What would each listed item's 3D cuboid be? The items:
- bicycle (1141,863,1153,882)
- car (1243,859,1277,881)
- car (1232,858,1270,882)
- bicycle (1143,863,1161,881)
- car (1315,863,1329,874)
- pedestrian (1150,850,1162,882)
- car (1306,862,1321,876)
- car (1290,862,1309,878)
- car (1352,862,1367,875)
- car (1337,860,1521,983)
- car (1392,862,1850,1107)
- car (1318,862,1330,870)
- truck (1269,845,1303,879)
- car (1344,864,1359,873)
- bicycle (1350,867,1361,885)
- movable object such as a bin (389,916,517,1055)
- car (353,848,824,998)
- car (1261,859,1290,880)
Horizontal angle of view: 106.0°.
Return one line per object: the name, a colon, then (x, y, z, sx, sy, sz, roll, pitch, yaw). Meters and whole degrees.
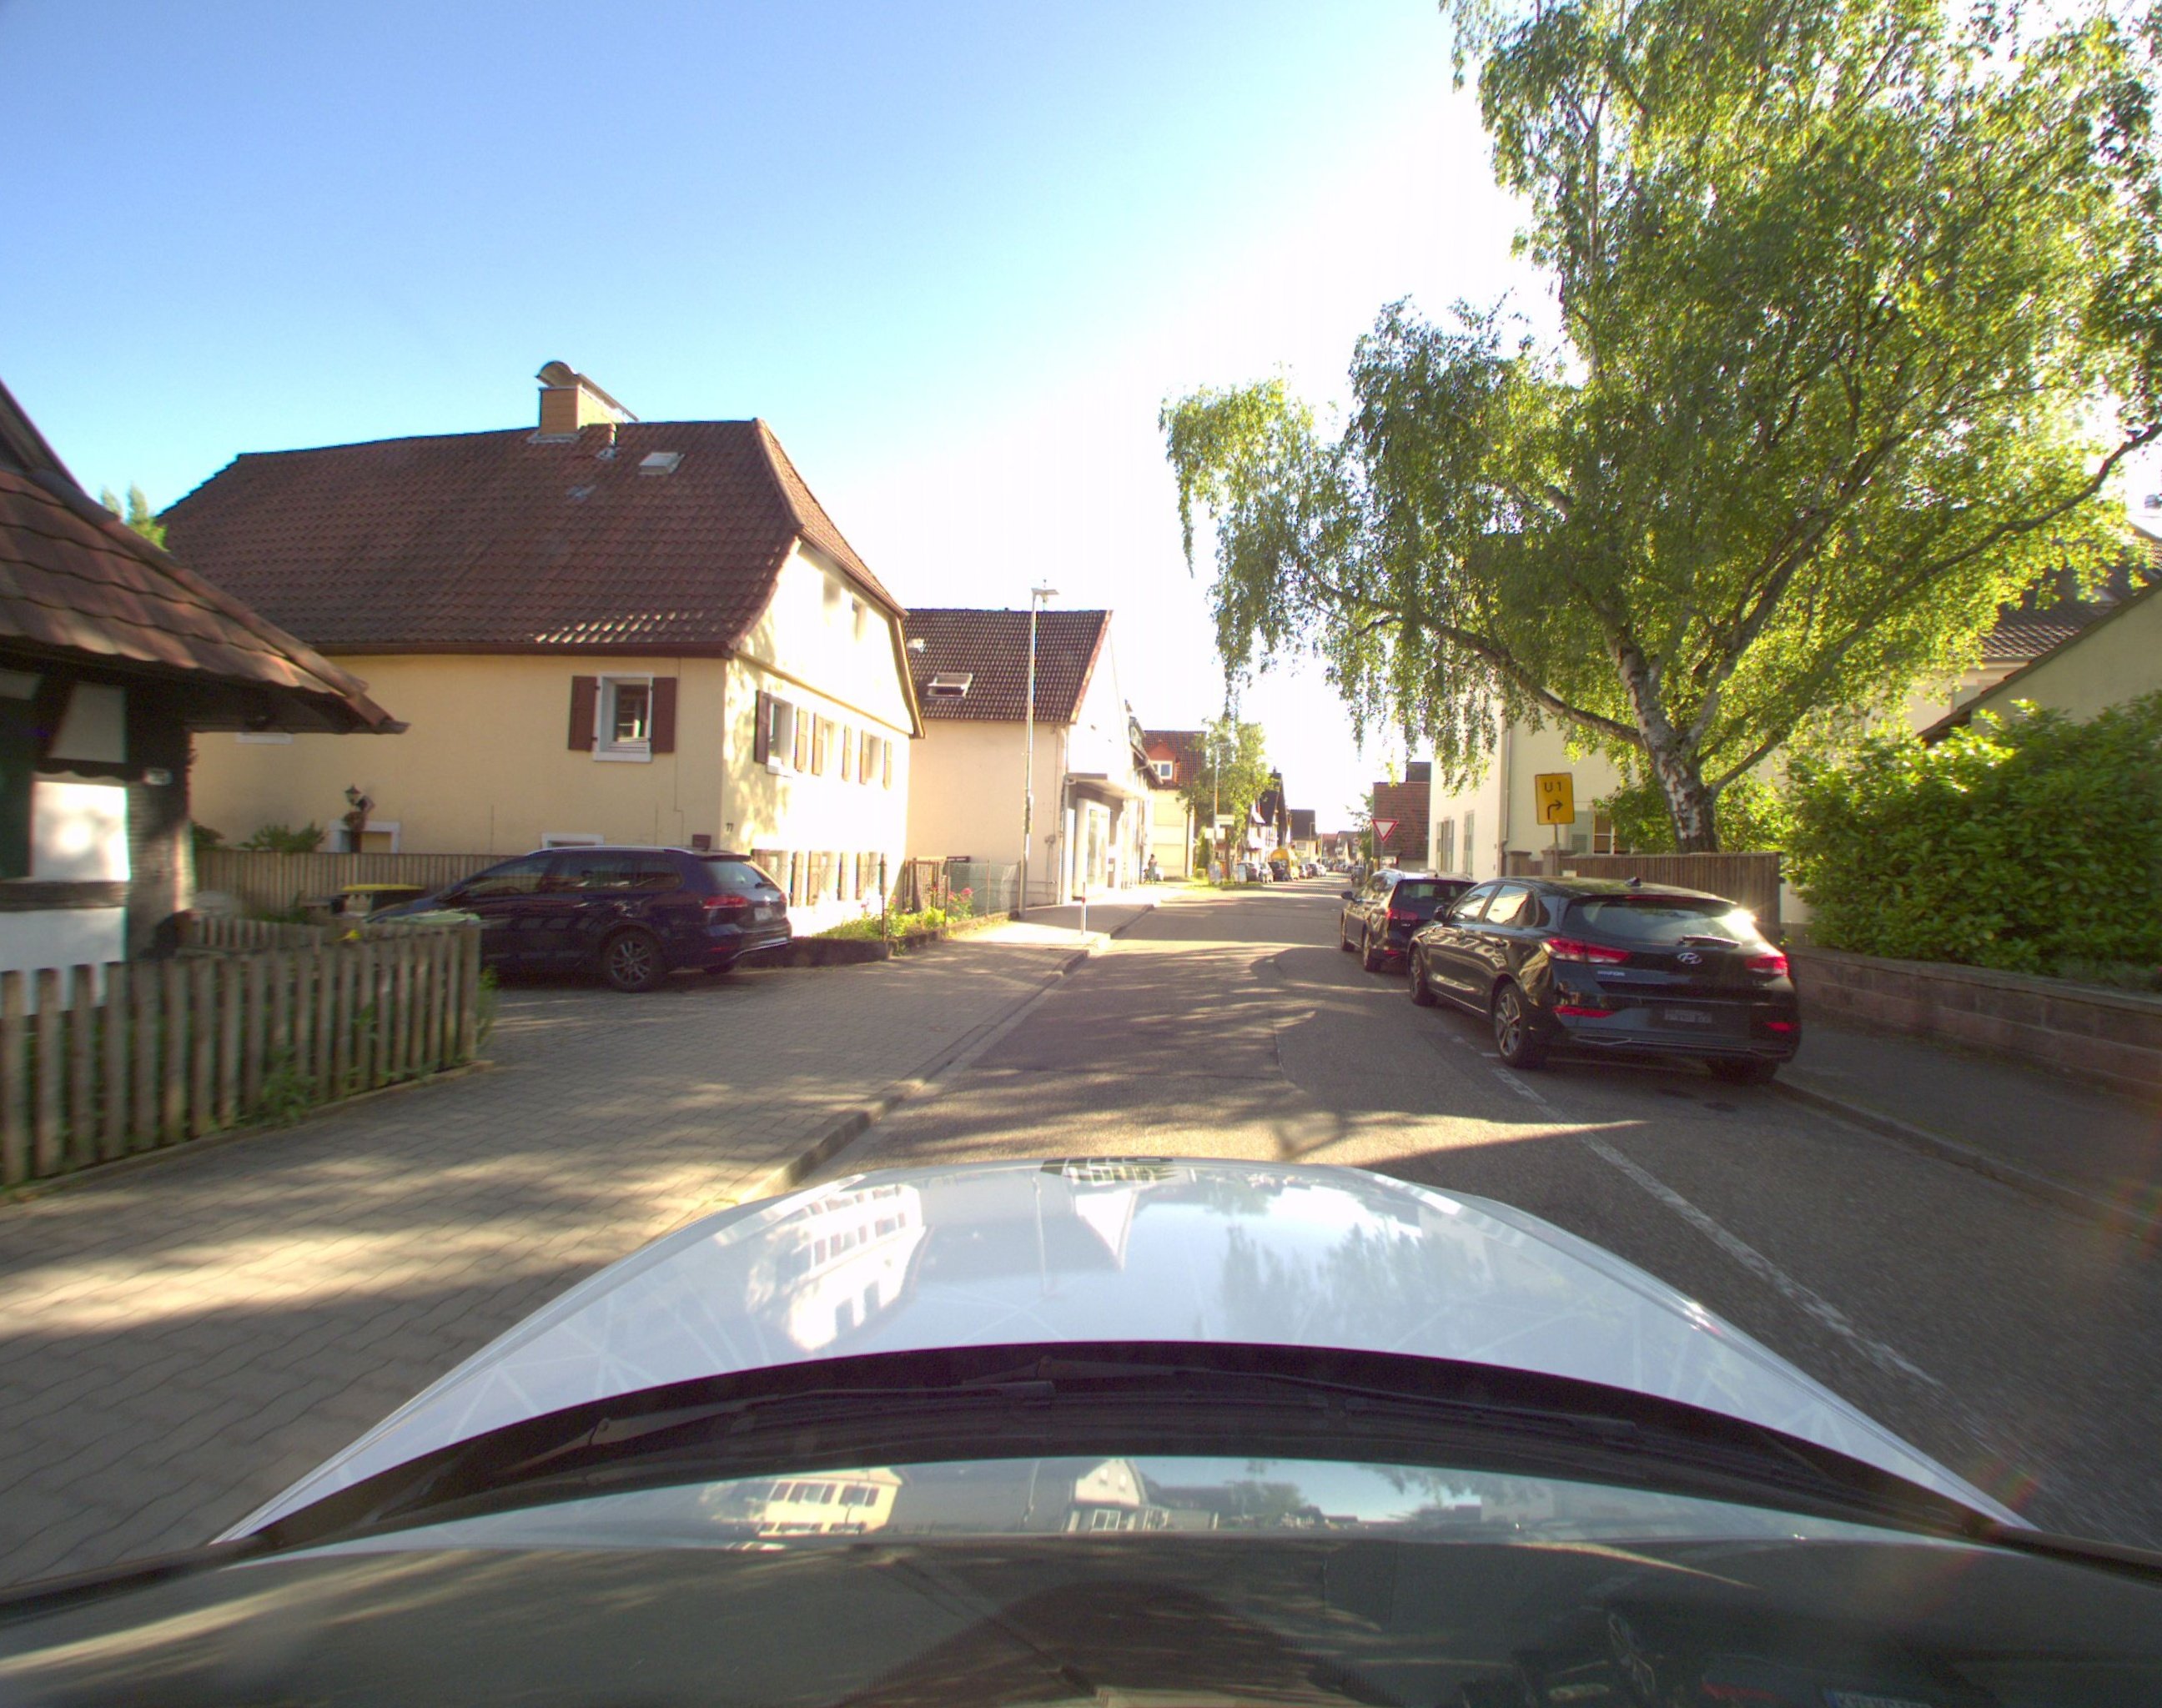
bicycle: (3.612, 1.008, 44.344, 0.420, 1.052, 1.386, 1, -1, 12)
car: (13.027, 1.172, 59.128, 1.791, 1.506, 4.128, 2, -1, 21)
car: (11.489, 1.110, 54.991, 1.852, 1.506, 4.128, 2, -1, 21)
bicycle: (4.174, 1.064, 47.726, 0.573, 1.052, 2.045, 1, -1, 19)
car: (31.022, 1.854, 104.725, 1.575, 1.443, 3.631, 2, 0, 18)
pedestrian: (4.069, 0.675, 44.422, 0.480, 1.693, 0.559, 2, -2, 15)
car: (26.727, 1.732, 93.528, 1.575, 1.443, 3.631, 2, 0, 18)
car: (21.785, 1.589, 81.117, 1.632, 1.432, 3.631, 2, 0, 18)
car: (39.382, 2.042, 115.185, 1.958, 1.714, 4.013, 2, 0, 18)
car: (5.107, 0.874, 12.562, 1.795, 1.436, 4.300, 2, 1, 12)
car: (4.298, 0.853, 7.437, 1.797, 1.436, 4.295, 2, 1, 8)
car: (54.477, 2.647, 182.492, 1.963, 1.583, 4.002, 2, 0, 6)
truck: (18.395, 0.770, 72.764, 2.249, 2.868, 5.811, 2, -1, 21)
car: (51.873, 2.706, 156.265, 1.963, 1.583, 4.002, 2, 0, 6)
bicycle: (18.429, 1.442, 54.649, 0.429, 1.176, 1.840, 1, 0, 28)
movable object such as a bin: (-4.591, 0.928, 5.962, 0.578, 0.898, 0.559, -1, -1, 30)
car: (-5.250, 0.686, 9.032, 4.138, 1.462, 1.851, -1, 0, 5)
car: (16.173, 1.292, 67.538, 1.791, 1.622, 3.900, 2, -1, 21)
